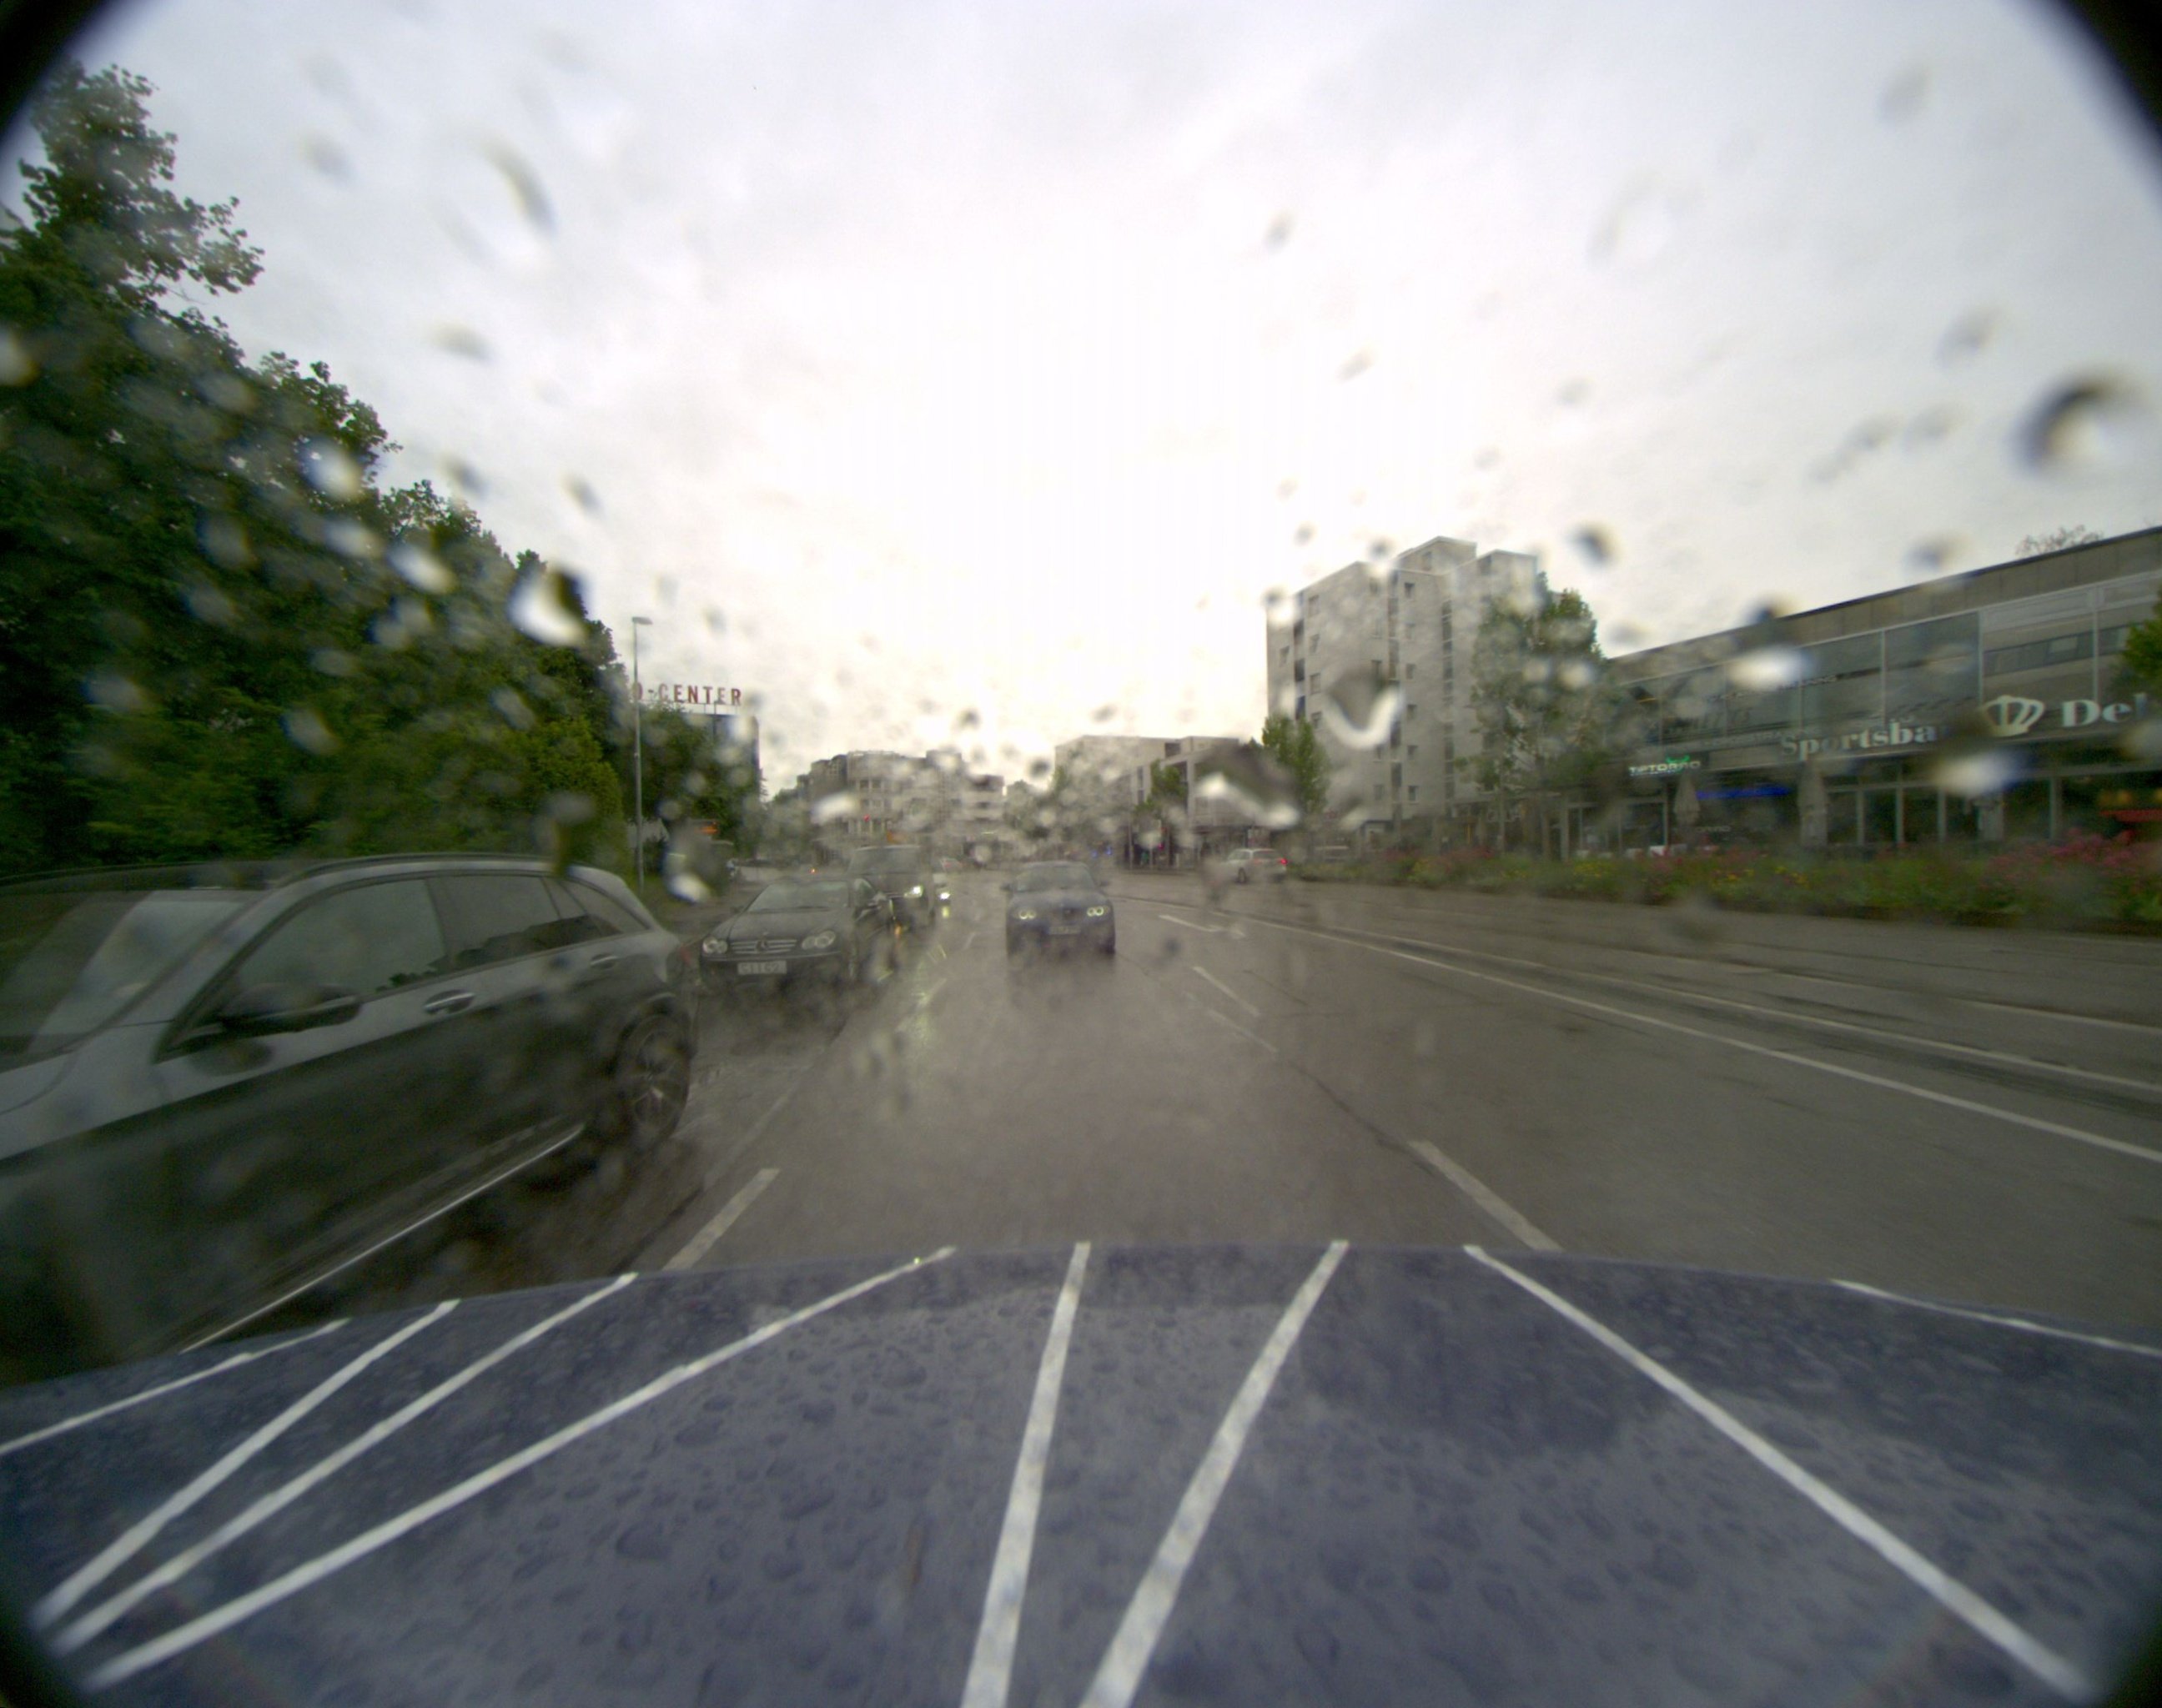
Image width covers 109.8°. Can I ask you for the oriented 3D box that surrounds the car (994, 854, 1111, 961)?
[{"bbox_3d":[-0.351,0.799,13.217,1.675,1.534,3.914,-2,0,2],"label":"car"}]

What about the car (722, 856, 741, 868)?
[{"bbox_3d":[-50.165,1.148,109.010,1.905,1.517,3.990,-2,1,-32],"label":"car"}]

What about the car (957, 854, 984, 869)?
[{"bbox_3d":[-11.235,0.821,76.989,1.765,1.418,3.993,-2,0,-23],"label":"car"}]

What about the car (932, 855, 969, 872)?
[{"bbox_3d":[-12.364,0.899,71.780,1.851,1.452,4.797,-3,1,-29],"label":"car"}]

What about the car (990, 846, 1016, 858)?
[{"bbox_3d":[-12.742,-0.328,124.487,3.903,1.710,1.742,-2,1,-40],"label":"car"}]

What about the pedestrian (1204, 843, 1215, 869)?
[{"bbox_3d":[8.406,0.138,49.763,0.480,1.650,0.536,-2,1,-21],"label":"pedestrian"}]

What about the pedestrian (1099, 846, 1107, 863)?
[{"bbox_3d":[2.225,0.046,77.238,0.550,1.740,0.679,-2,1,-20],"label":"pedestrian"}]

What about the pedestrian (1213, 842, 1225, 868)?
[{"bbox_3d":[9.068,0.061,49.915,0.537,1.650,0.479,-2,1,-16],"label":"pedestrian"}]

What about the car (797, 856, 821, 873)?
[{"bbox_3d":[-27.529,1.056,76.823,1.740,1.587,3.991,-2,1,-27],"label":"car"}]

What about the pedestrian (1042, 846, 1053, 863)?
[{"bbox_3d":[-3.808,0.094,85.694,0.907,1.904,0.976,-2,1,-22],"label":"pedestrian"}]

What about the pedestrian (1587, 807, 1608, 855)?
[{"bbox_3d":[20.122,-0.884,29.590,0.427,1.837,0.501,-2,1,-11],"label":"pedestrian"}]

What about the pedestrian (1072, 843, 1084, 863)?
[{"bbox_3d":[-0.318,-0.097,78.587,0.907,2.002,0.976,-2,1,-22],"label":"pedestrian"}]

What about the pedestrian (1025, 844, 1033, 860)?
[{"bbox_3d":[-6.774,-0.281,98.326,0.762,2.002,0.862,-2,1,-23],"label":"pedestrian"}]

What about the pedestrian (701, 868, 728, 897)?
[{"bbox_3d":[-16.113,1.236,33.395,1.034,1.274,0.690,1,0,-24],"label":"pedestrian"}]

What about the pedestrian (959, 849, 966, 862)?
[{"bbox_3d":[-16.587,0.252,106.459,0.683,1.733,0.585,-2,2,4],"label":"pedestrian"}]

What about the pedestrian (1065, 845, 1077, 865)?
[{"bbox_3d":[-1.013,0.069,78.345,0.907,2.002,0.976,-2,1,-22],"label":"pedestrian"}]

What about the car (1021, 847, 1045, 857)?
[{"bbox_3d":[-8.178,-0.330,129.756,3.903,1.710,1.742,-2,1,-40],"label":"car"}]

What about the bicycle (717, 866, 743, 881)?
[{"bbox_3d":[-27.686,1.507,59.926,1.838,1.104,0.693,-2,1,-24],"label":"bicycle"}]

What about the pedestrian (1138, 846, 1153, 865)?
[{"bbox_3d":[5.499,0.126,64.846,1.011,1.636,0.725,-3,1,-22],"label":"pedestrian"}]

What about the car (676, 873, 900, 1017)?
[{"bbox_3d":[-3.745,1.048,10.601,1.636,1.378,4.512,-2,1,-5],"label":"car"}]

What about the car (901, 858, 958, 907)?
[{"bbox_3d":[-5.323,0.939,27.019,1.763,1.540,4.323,-2,0,-10],"label":"car"}]

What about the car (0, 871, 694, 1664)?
[{"bbox_3d":[-3.326,0.961,2.506,1.906,1.611,4.334,-2,1,-2],"label":"car"}]

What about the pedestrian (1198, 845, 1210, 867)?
[{"bbox_3d":[8.437,0.113,52.160,0.538,1.496,0.613,-3,1,-45],"label":"pedestrian"}]

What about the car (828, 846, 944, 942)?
[{"bbox_3d":[-4.449,0.800,18.024,2.002,1.883,4.583,-2,1,-7],"label":"car"}]

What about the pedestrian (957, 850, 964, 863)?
[{"bbox_3d":[-16.684,0.298,104.970,0.839,1.733,0.584,-3,2,-16],"label":"pedestrian"}]

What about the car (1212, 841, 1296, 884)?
[{"bbox_3d":[7.399,0.317,32.966,1.892,1.673,4.501,-2,1,-10],"label":"car"}]

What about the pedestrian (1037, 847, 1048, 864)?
[{"bbox_3d":[-4.335,0.182,85.398,0.906,1.904,0.976,-2,1,-15],"label":"pedestrian"}]
